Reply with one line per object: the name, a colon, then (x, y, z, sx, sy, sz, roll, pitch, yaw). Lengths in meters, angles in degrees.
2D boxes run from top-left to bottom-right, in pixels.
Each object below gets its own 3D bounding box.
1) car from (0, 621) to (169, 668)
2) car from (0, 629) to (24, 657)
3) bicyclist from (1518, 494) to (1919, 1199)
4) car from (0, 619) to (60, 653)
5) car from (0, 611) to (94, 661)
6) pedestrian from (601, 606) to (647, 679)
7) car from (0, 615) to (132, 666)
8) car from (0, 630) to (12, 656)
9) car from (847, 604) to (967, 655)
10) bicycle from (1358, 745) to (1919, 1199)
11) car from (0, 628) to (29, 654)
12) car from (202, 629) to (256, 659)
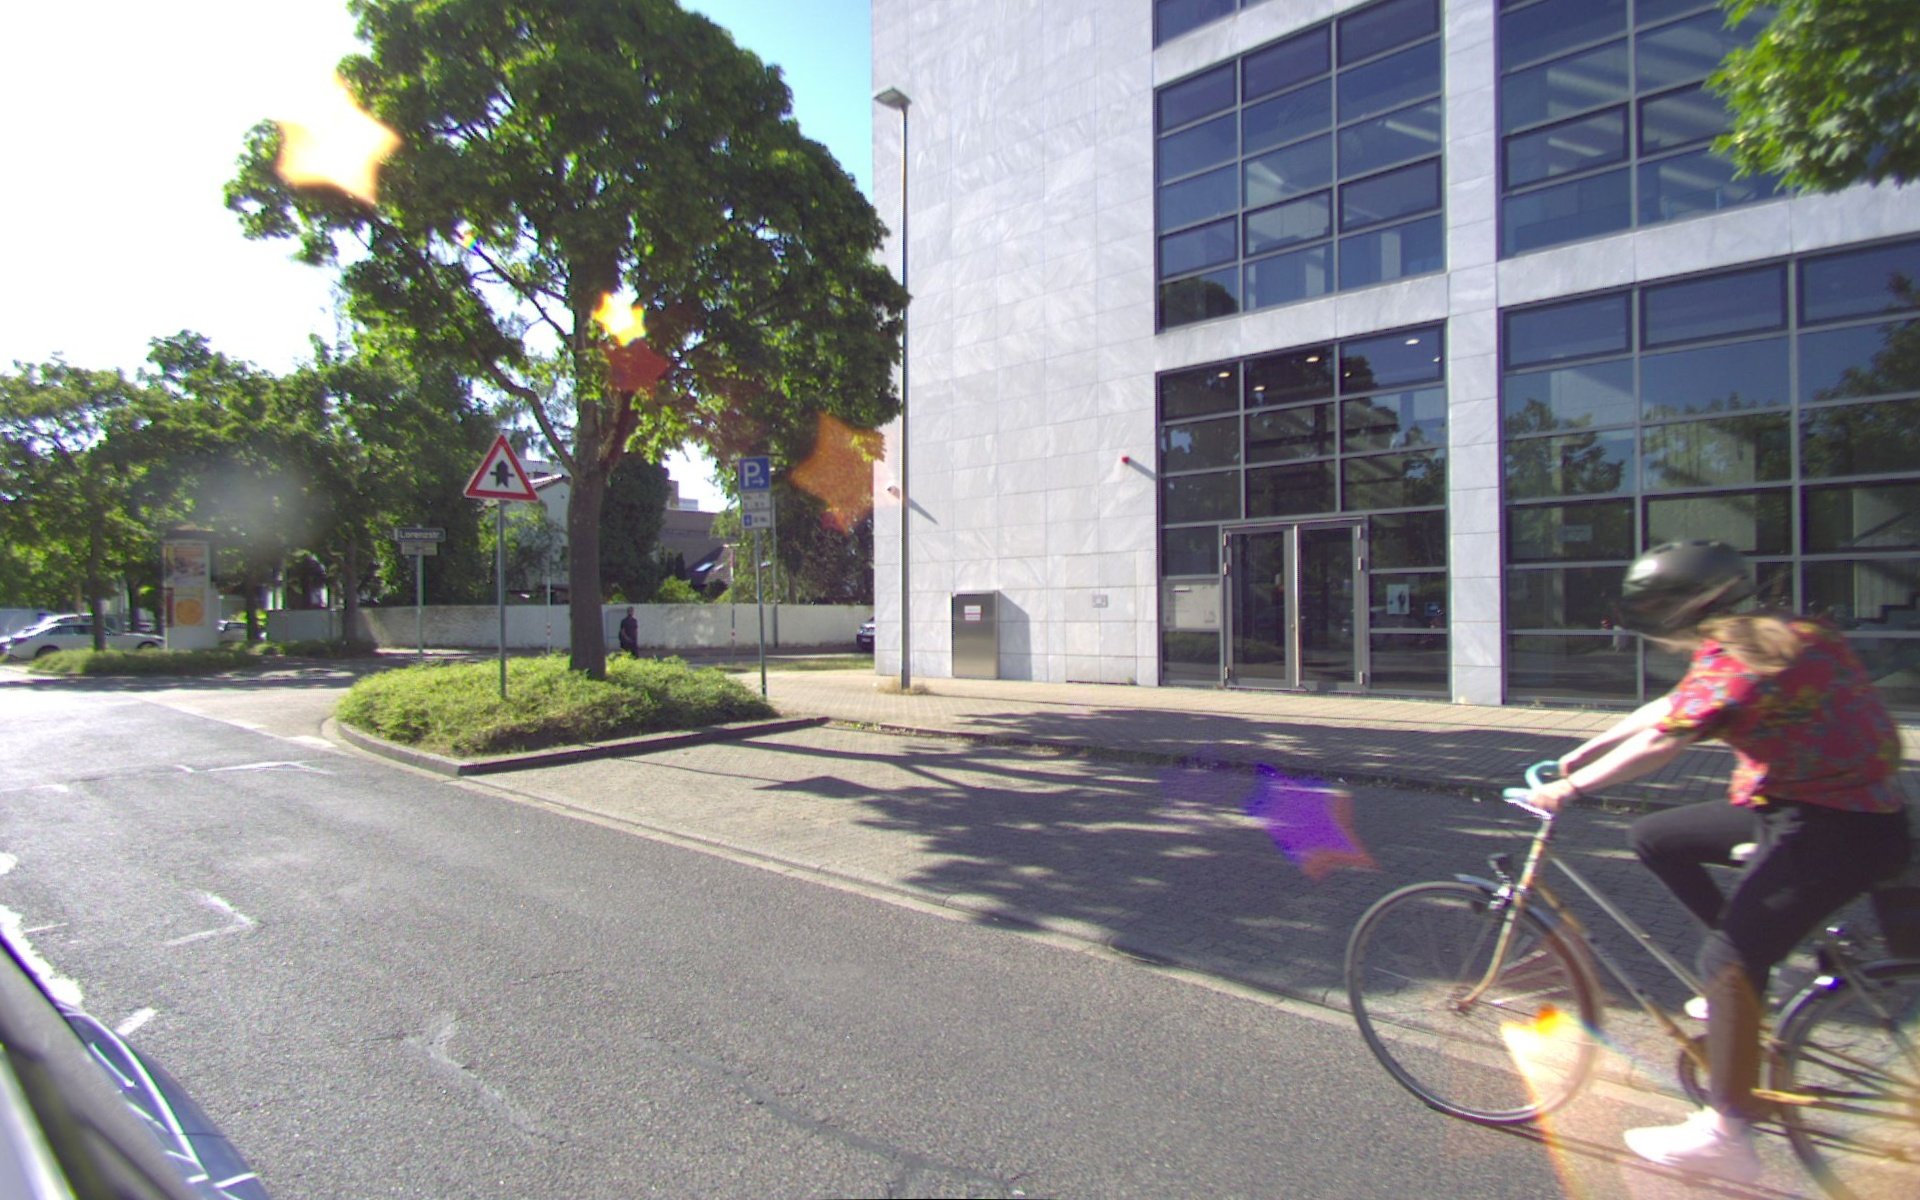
car: (-32.124, 1.571, 37.144, 1.829, 1.416, 4.622, -2, 1, 42)
car: (-65.306, 2.883, 67.154, 1.999, 1.844, 4.504, -3, -3, 40)
bicyclist: (2.037, 0.526, 2.360, 1.132, 1.442, 0.749, -1, -3, 43)
car: (-52.777, 1.975, 55.787, 1.999, 1.844, 4.504, -3, -3, 40)
car: (-45.685, 1.747, 49.280, 1.999, 2.397, 5.066, -3, -3, 40)
pedestrian: (-8.088, 1.016, 24.367, 0.824, 1.697, 0.809, 1, -2, -36)
car: (-37.762, 1.670, 42.331, 1.999, 2.006, 4.573, -3, -3, 40)
car: (-69.619, 3.077, 70.858, 1.999, 1.844, 4.504, -3, -3, 40)
car: (-2.080, 1.148, 41.157, 1.904, 1.928, 5.076, -1, -1, 42)
bicycle: (2.014, 0.951, 2.372, 1.872, 1.010, 0.749, -1, -3, 43)
car: (-60.536, 2.559, 62.334, 1.999, 1.612, 4.504, -3, -3, 40)
car: (-41.077, 2.430, 56.831, 1.808, 1.626, 4.147, 2, -3, -44)
